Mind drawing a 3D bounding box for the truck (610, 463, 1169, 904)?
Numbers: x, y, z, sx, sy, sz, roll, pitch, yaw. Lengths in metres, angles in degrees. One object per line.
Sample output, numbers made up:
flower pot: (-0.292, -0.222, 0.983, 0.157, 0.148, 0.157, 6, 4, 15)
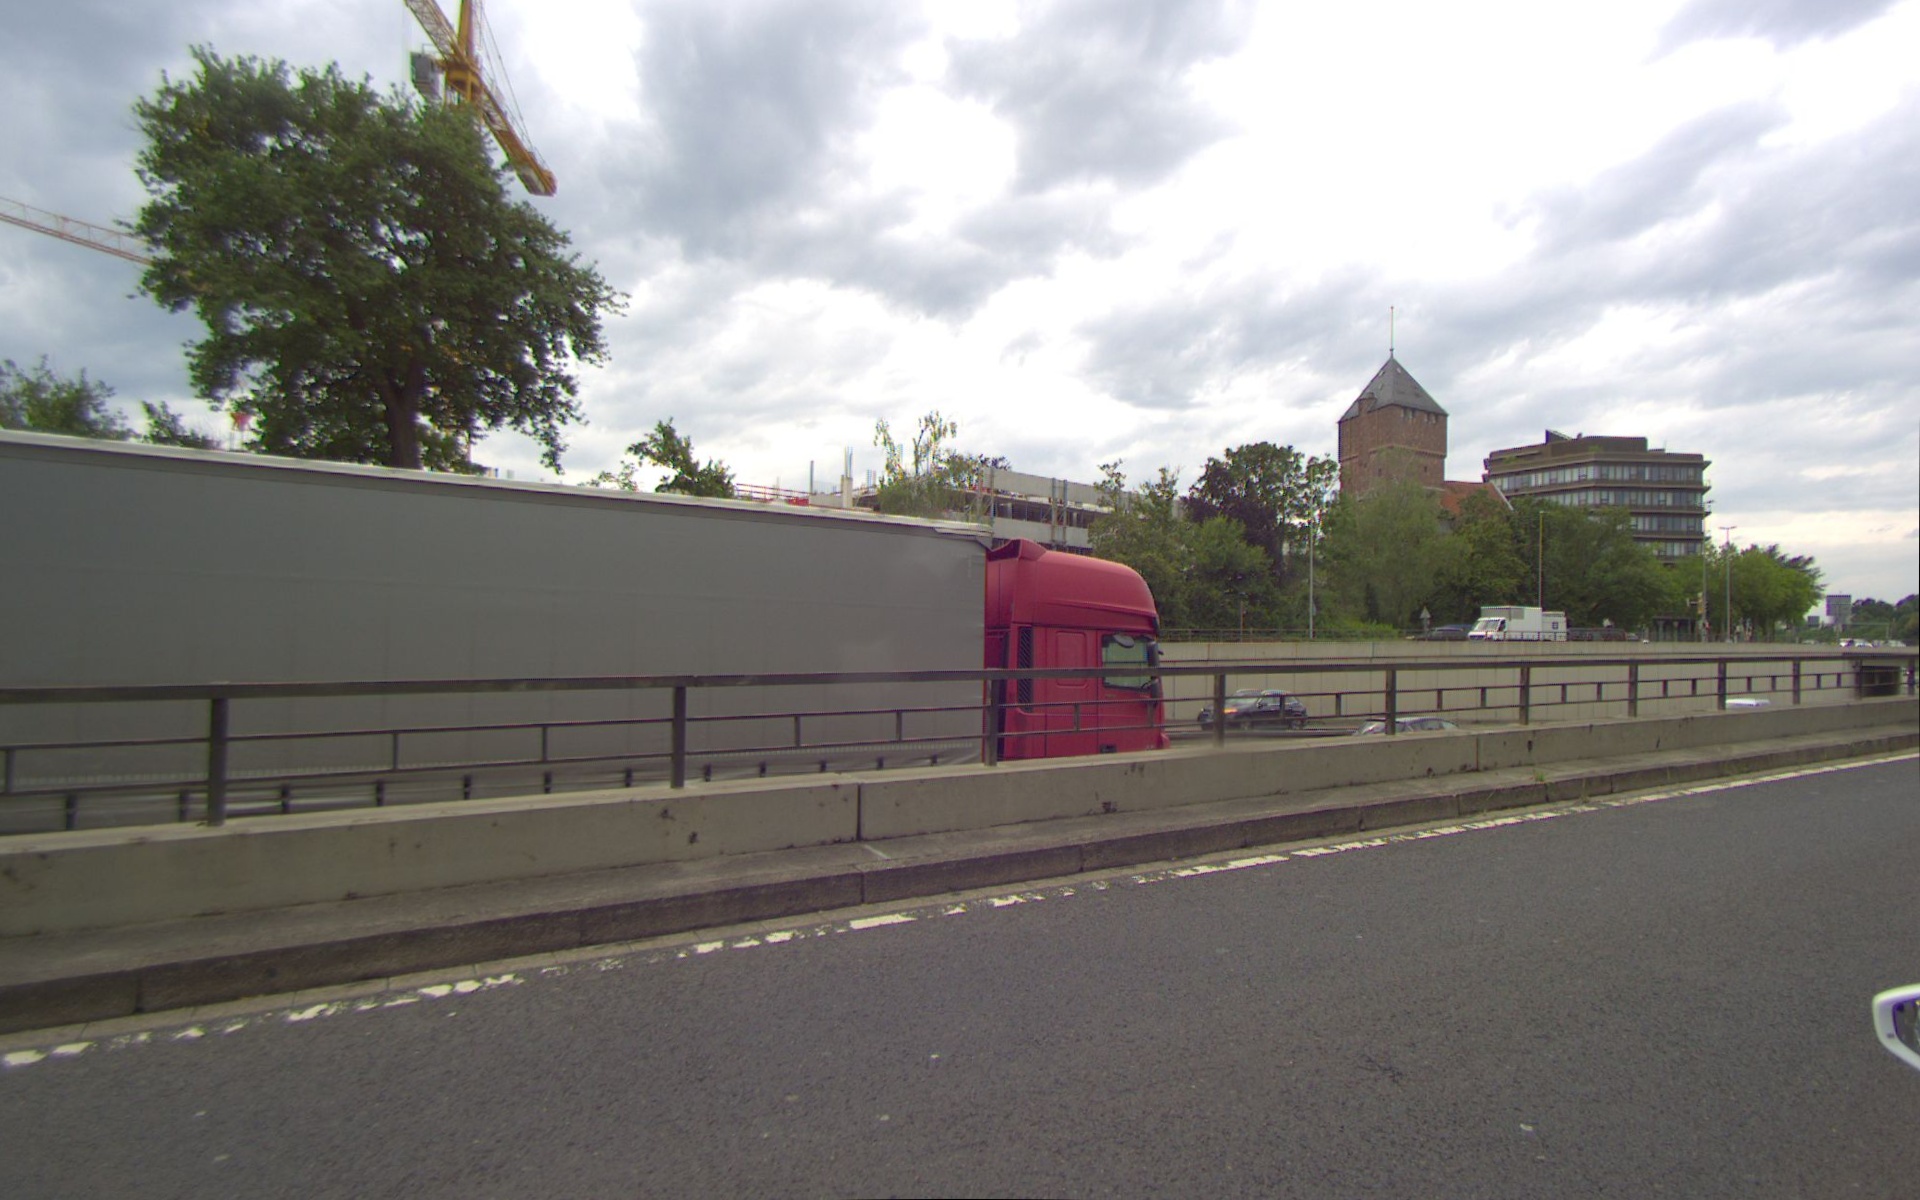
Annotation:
truck: (-0.718, 0.898, 12.063, 6.131, 4.089, 2.692, 2, -2, -31)

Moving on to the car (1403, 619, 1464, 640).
car: (36.021, 2.255, 76.483, 3.919, 1.460, 1.630, 2, 0, 9)

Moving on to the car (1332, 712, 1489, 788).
car: (11.487, 3.750, 25.576, 3.849, 1.549, 1.648, 2, -1, -29)

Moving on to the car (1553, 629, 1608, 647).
car: (56.505, 3.452, 91.477, 3.919, 1.460, 1.630, 2, 0, 9)

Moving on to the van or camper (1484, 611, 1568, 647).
van or camper: (48.080, 2.410, 85.402, 5.805, 2.847, 2.147, 2, 0, 15)

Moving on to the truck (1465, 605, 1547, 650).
truck: (39.232, 2.001, 72.063, 7.021, 3.026, 2.005, 2, -1, -33)

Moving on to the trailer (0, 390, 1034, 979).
trailer: (-6.009, 0.668, 8.910, 14.386, 4.089, 2.639, 2, -2, -31)

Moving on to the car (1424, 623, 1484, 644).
car: (38.701, 2.626, 78.780, 3.919, 1.460, 1.630, 2, 0, 9)

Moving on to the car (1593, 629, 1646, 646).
car: (62.989, 3.597, 96.009, 3.919, 1.460, 1.630, 2, 0, 9)

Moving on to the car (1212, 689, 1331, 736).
car: (11.727, 4.170, 37.720, 4.632, 1.445, 1.738, 1, -2, -34)
